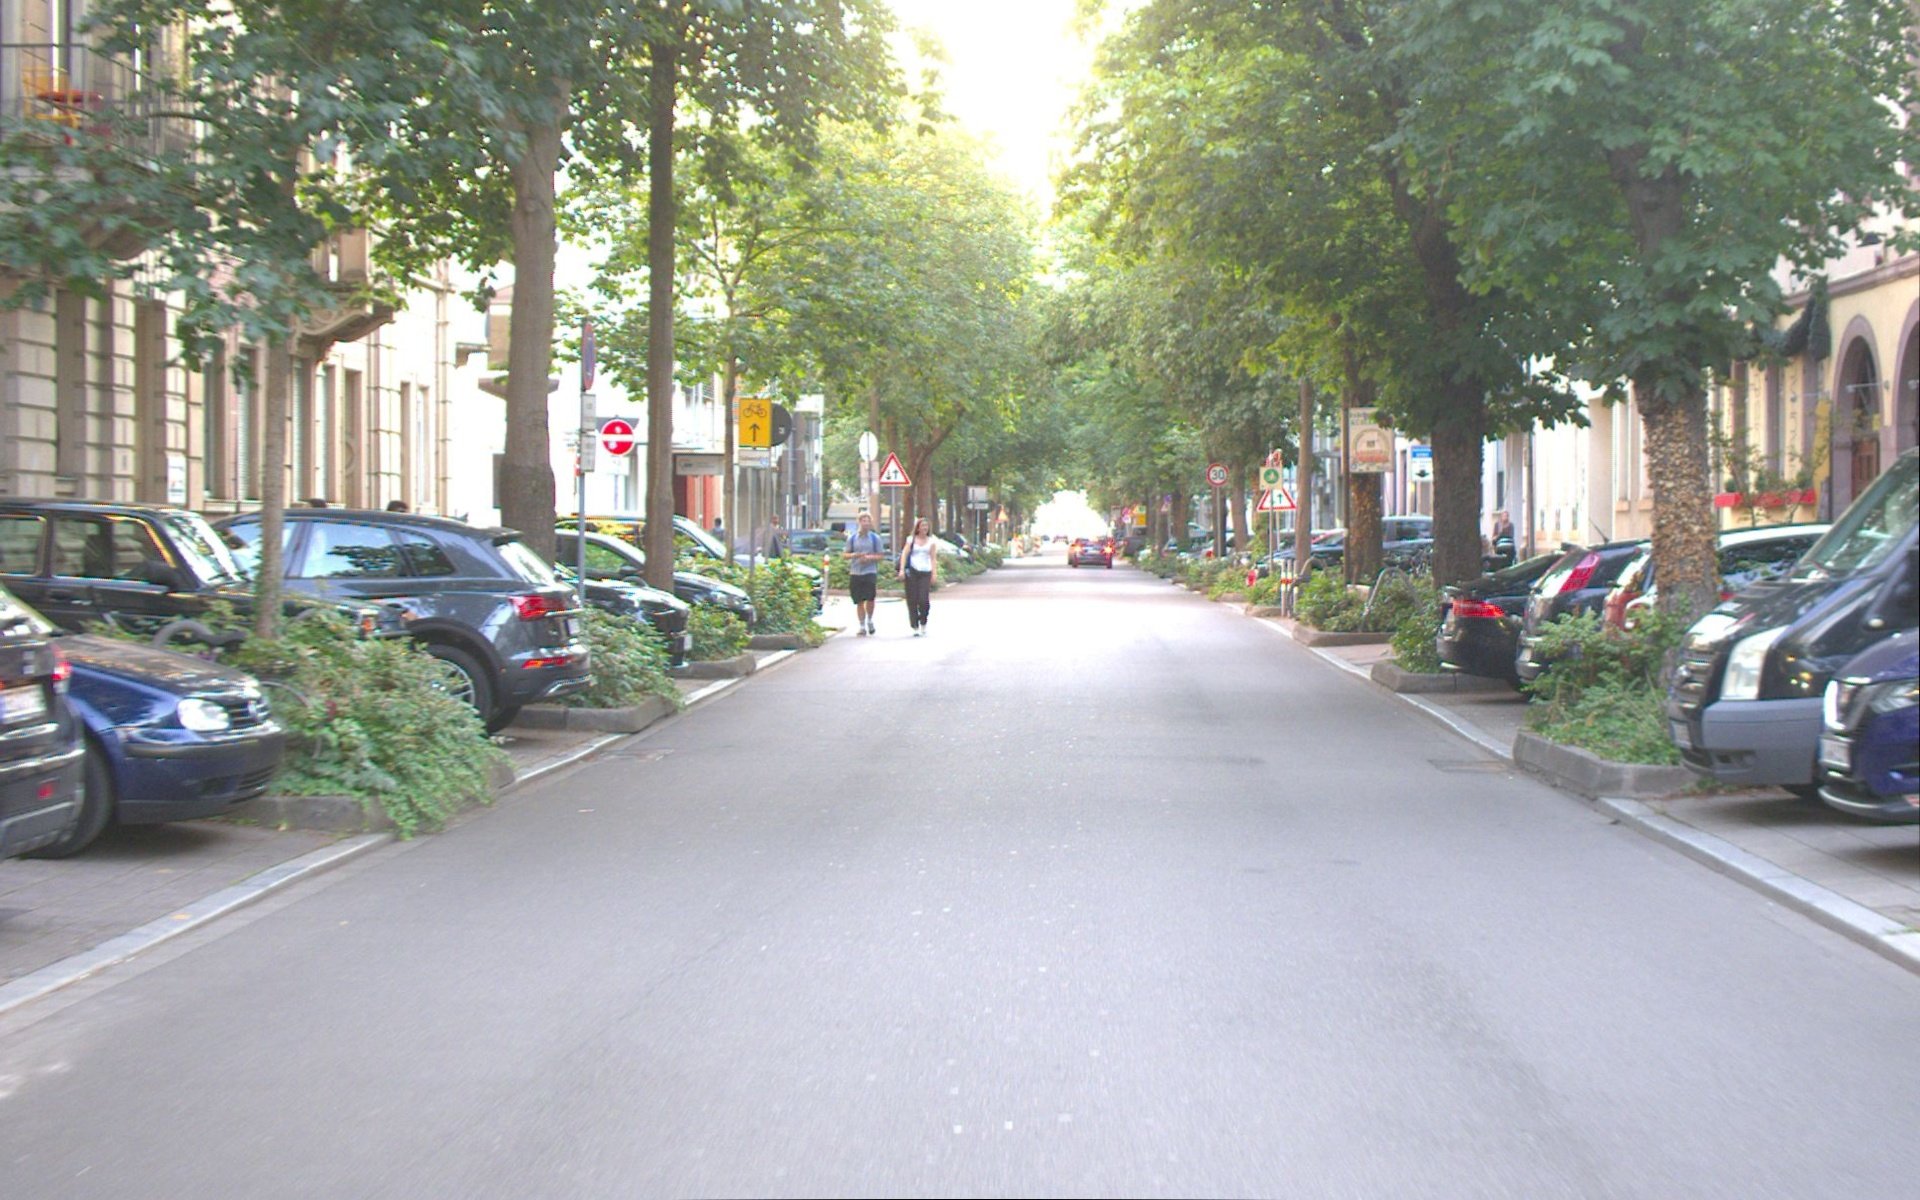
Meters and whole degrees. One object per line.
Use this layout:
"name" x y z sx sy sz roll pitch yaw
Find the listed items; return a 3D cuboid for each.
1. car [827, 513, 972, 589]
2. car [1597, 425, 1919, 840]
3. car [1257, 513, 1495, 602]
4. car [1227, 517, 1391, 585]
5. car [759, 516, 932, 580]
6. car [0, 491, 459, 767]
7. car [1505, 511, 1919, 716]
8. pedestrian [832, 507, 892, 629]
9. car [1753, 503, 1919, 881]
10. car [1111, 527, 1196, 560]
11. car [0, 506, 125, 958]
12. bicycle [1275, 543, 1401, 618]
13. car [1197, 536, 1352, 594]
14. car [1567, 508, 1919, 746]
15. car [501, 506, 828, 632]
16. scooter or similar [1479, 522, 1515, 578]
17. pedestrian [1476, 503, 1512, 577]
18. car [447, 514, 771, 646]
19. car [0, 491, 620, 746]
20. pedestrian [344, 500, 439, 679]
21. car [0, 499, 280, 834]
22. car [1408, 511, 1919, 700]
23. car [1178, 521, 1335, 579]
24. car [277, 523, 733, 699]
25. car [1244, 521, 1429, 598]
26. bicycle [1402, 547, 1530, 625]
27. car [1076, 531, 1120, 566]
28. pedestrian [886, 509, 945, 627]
"car" -1.969 -1.619 113.508 4.682 2.469 2.000 0 1 2
"car" 5.931 0.047 18.146 4.689 2.004 2.037 -3 1 2
"car" 7.966 -0.826 66.114 4.426 1.650 1.899 0 1 4
"car" 7.875 -1.118 77.796 3.483 1.447 1.899 -1 1 0
"car" -2.777 -1.284 84.308 4.127 1.481 1.929 1 1 1
"car" -5.370 0.147 22.745 3.801 1.666 1.714 2 2 1
"car" 6.642 0.070 28.179 3.987 1.433 1.927 -3 1 1
"pedestrian" -1.408 -0.465 49.342 0.794 1.731 0.831 -1 1 1
"car" 5.915 0.266 15.500 4.155 1.573 1.970 -3 1 1
"car" 9.906 -2.911 176.031 4.268 1.560 1.963 -2 1 2
"car" -5.323 0.336 12.612 3.965 1.591 1.780 4 1 2
"bicycle" 5.982 -0.312 54.467 1.837 1.131 0.745 -1 1 -8
"car" 8.285 -0.926 90.711 3.876 1.435 1.848 -1 1 -1
"car" 6.519 0.147 25.584 3.680 1.573 1.714 -3 1 3
"car" -4.204 -0.462 49.360 4.426 1.645 1.872 2 2 3
"scooter or similar" 11.226 -1.053 71.889 0.655 1.149 0.831 -1 1 3
"pedestrian" 11.247 -1.266 72.465 0.655 1.531 0.831 -1 1 3
"car" -4.239 -0.262 41.949 3.692 1.453 1.873 2 2 2
"car" -4.719 0.098 25.080 4.201 1.666 1.907 2 2 2
"pedestrian" -5.609 -0.110 33.948 0.734 1.733 0.671 1 1 8
"car" -5.385 0.192 16.058 3.965 1.382 1.765 3 2 3
"car" 6.362 0.028 30.719 4.400 1.389 1.886 -3 1 0
"car" 8.992 -1.519 104.597 4.718 1.704 1.950 0 2 4
"car" -4.191 0.083 32.107 3.945 1.527 1.907 1 1 2
"car" 7.556 -0.827 69.239 3.483 1.447 1.899 -1 1 0
"bicycle" 7.619 -0.221 51.789 1.794 1.124 0.664 -1 1 -4
"car" 6.307 -2.351 157.223 1.956 1.560 4.282 -2 1 2
"pedestrian" -0.628 -0.460 49.209 0.794 1.665 0.831 -1 1 1
